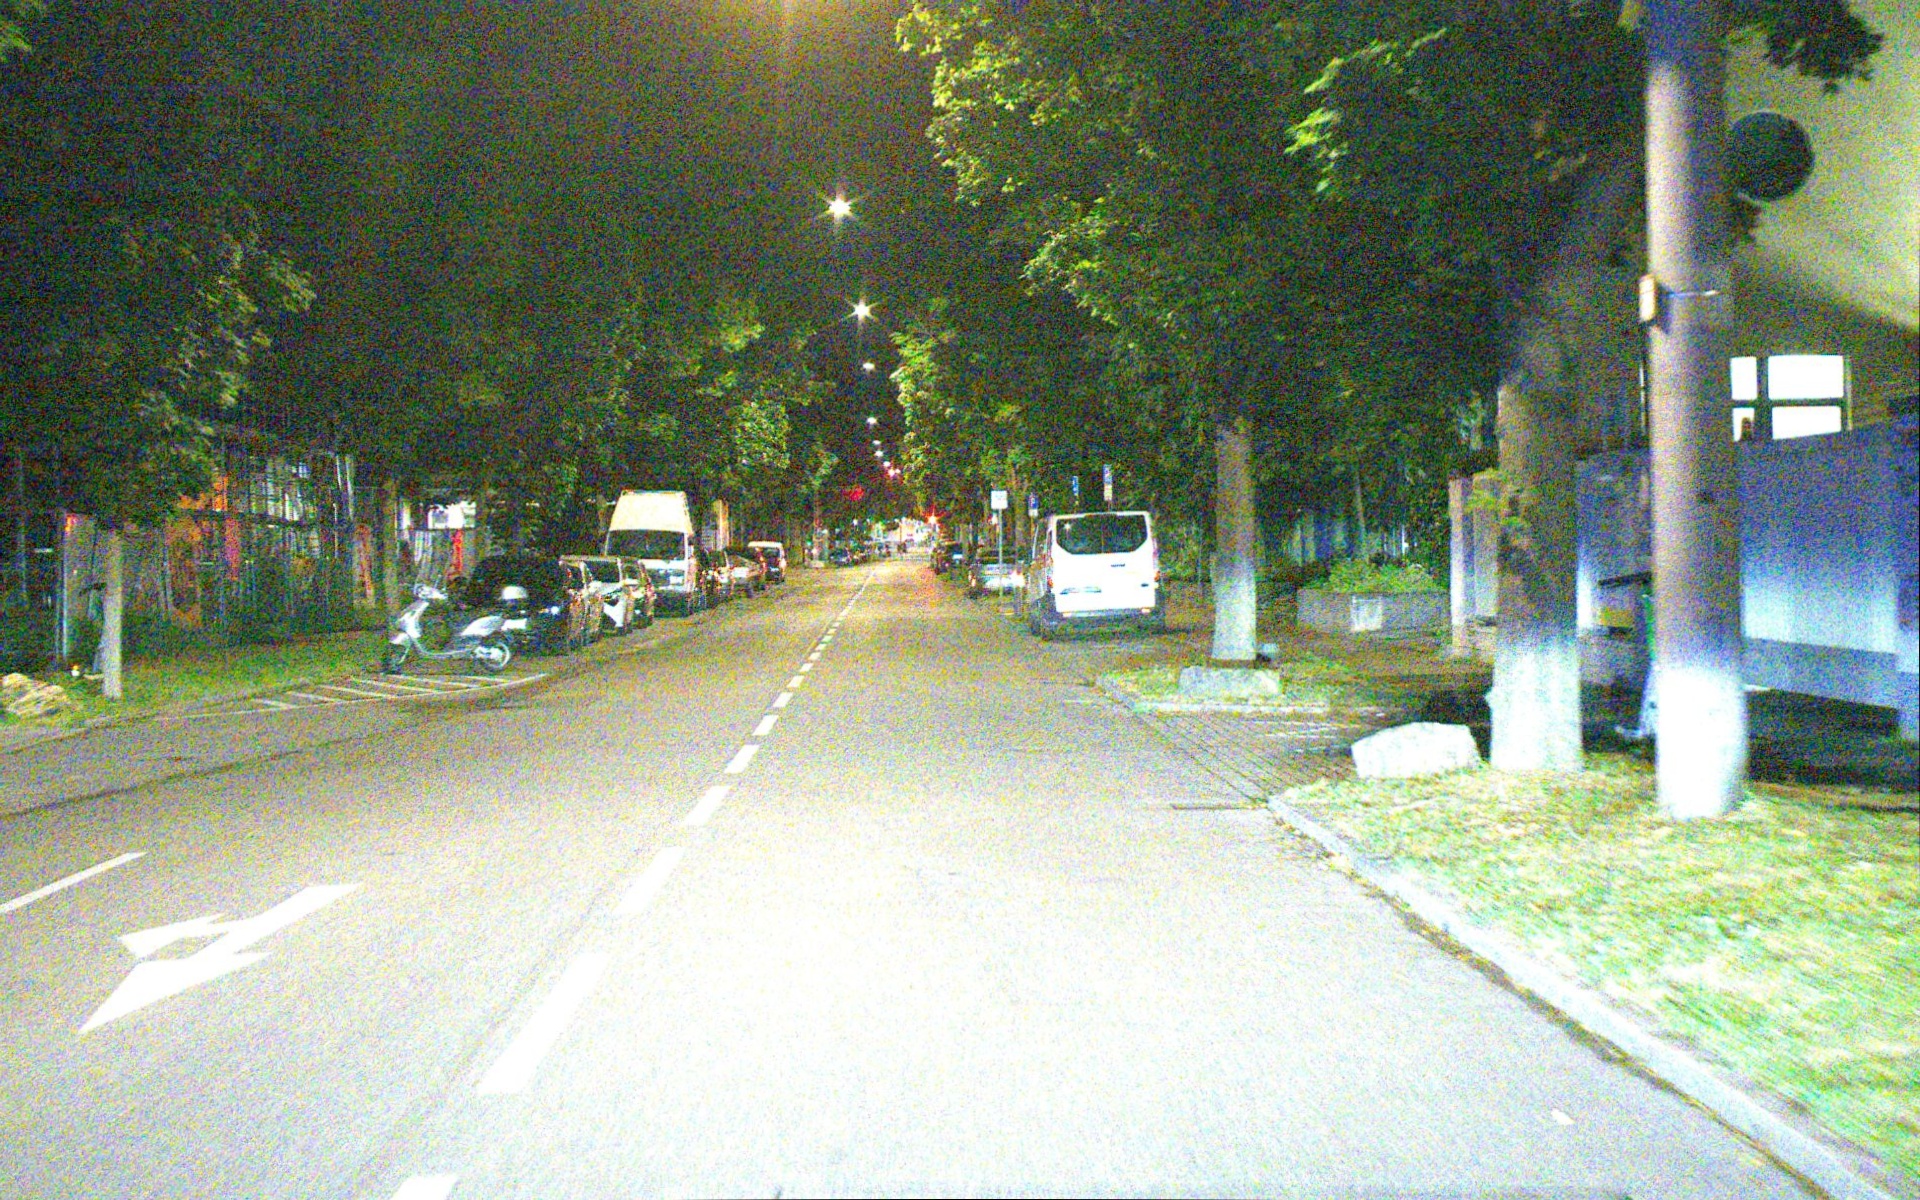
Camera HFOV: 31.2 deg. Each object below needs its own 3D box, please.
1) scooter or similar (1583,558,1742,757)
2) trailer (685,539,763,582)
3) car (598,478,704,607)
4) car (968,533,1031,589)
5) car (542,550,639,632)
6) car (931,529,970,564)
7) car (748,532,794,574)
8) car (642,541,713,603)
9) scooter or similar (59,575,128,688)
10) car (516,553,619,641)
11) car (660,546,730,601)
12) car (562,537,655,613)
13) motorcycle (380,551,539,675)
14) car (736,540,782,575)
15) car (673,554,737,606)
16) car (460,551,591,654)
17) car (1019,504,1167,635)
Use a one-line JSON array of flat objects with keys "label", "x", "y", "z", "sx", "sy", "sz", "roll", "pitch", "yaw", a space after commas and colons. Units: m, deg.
[{"label": "scooter or similar", "x": 4.523, "y": 0.351, "z": 22.250, "sx": 0.547, "sy": 1.199, "sz": 1.911, "roll": -3, "pitch": 0, "yaw": -1}, {"label": "trailer", "x": -7.565, "y": -1.295, "z": 110.681, "sx": 2.110, "sy": 1.330, "sz": 5.435, "roll": 0, "pitch": 1, "yaw": 0}, {"label": "car", "x": -7.253, "y": -1.370, "z": 81.112, "sx": 2.179, "sy": 2.899, "sz": 4.910, "roll": -1, "pitch": 1, "yaw": -2}, {"label": "car", "x": 1.137, "y": -1.133, "z": 97.551, "sx": 1.668, "sy": 1.424, "sz": 4.148, "roll": -4, "pitch": 1, "yaw": 1}, {"label": "car", "x": -6.858, "y": -0.182, "z": 64.094, "sx": 1.547, "sy": 1.450, "sz": 3.369, "roll": 0, "pitch": 1, "yaw": -2}, {"label": "car", "x": -0.471, "y": -2.611, "z": 168.178, "sx": 1.853, "sy": 1.648, "sz": 4.209, "roll": -1, "pitch": 1, "yaw": 0}, {"label": "car", "x": -8.514, "y": -2.141, "z": 154.994, "sx": 1.822, "sy": 1.805, "sz": 4.210, "roll": 1, "pitch": 1, "yaw": 0}, {"label": "car", "x": -7.532, "y": -0.773, "z": 92.072, "sx": 1.742, "sy": 1.601, "sz": 4.299, "roll": -1, "pitch": 1, "yaw": -3}, {"label": "scooter or similar", "x": -9.624, "y": 0.340, "z": 38.218, "sx": 0.367, "sy": 1.200, "sz": 1.427, "roll": -3, "pitch": 1, "yaw": -1}, {"label": "car", "x": -6.755, "y": -0.082, "z": 59.385, "sx": 1.444, "sy": 1.424, "sz": 3.904, "roll": 0, "pitch": 1, "yaw": -2}, {"label": "car", "x": -7.512, "y": -0.765, "z": 97.865, "sx": 1.704, "sy": 1.406, "sz": 4.634, "roll": -2, "pitch": 2, "yaw": -1}, {"label": "car", "x": -7.090, "y": -0.522, "z": 69.537, "sx": 1.645, "sy": 1.499, "sz": 3.861, "roll": 0, "pitch": 1, "yaw": -3}, {"label": "motorcycle", "x": -6.383, "y": 0.159, "z": 43.875, "sx": 1.901, "sy": 1.544, "sz": 0.639, "roll": -1, "pitch": 1, "yaw": -20}, {"label": "car", "x": -8.602, "y": -1.819, "z": 147.594, "sx": 1.700, "sy": 1.428, "sz": 3.828, "roll": 1, "pitch": 1, "yaw": 0}, {"label": "car", "x": -7.608, "y": -0.613, "z": 102.880, "sx": 1.716, "sy": 1.496, "sz": 4.206, "roll": 0, "pitch": 1, "yaw": -2}, {"label": "car", "x": -6.700, "y": 0.013, "z": 53.287, "sx": 1.642, "sy": 1.499, "sz": 3.904, "roll": 0, "pitch": 1, "yaw": -2}, {"label": "car", "x": 2.089, "y": -0.520, "z": 55.214, "sx": 1.950, "sy": 1.957, "sz": 4.604, "roll": -2, "pitch": 1, "yaw": -2}]
